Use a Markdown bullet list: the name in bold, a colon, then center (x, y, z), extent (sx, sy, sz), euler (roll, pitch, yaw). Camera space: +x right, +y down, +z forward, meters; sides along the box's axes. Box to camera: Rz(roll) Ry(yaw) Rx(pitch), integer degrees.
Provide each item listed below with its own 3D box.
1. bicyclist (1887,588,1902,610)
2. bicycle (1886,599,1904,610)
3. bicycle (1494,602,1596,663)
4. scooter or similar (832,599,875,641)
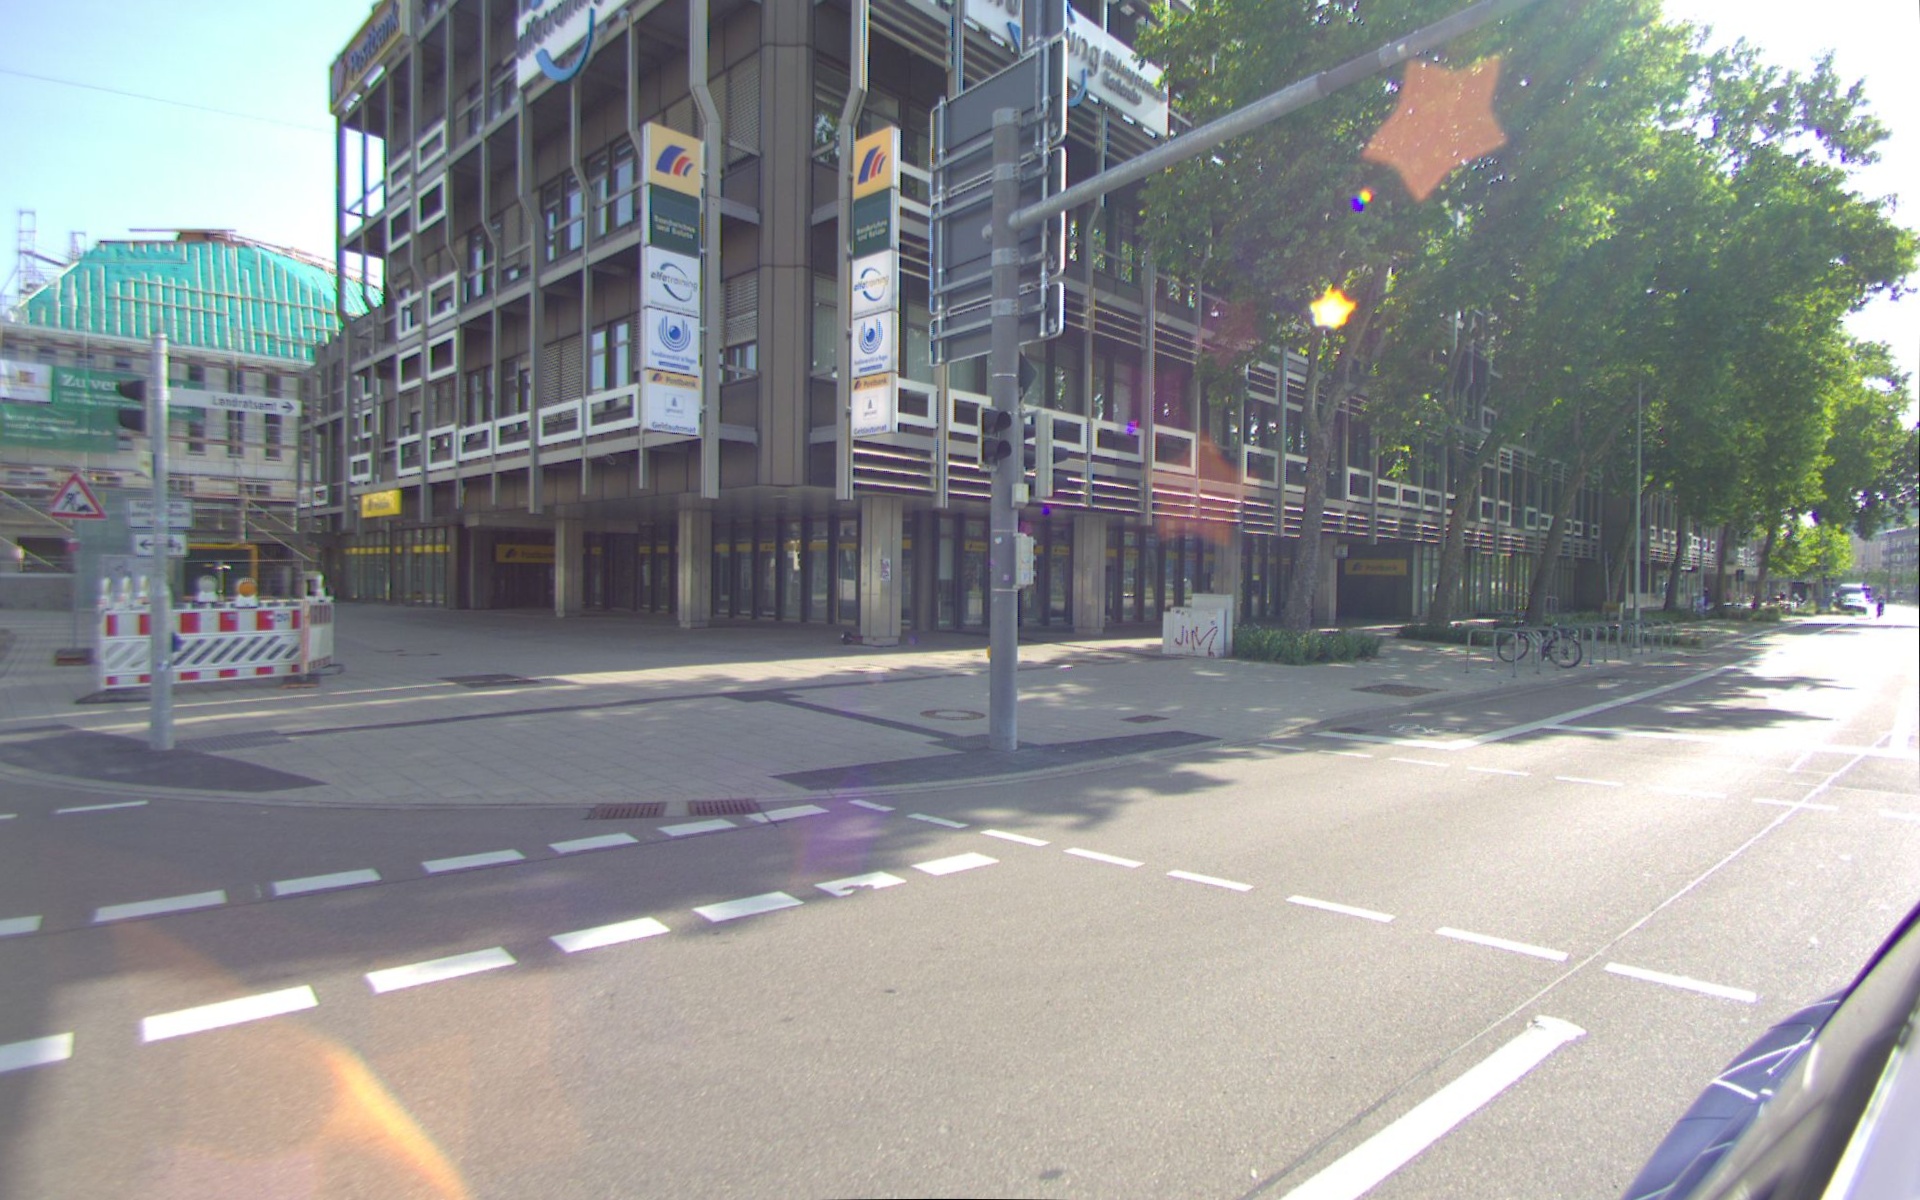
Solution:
- **bicyclist**: center (65.287, -0.094, 70.703), extent (0.608, 1.532, 0.804), euler (1, 1, 34)
- **bicycle**: center (65.178, 0.302, 70.546), extent (0.626, 0.715, 1.787), euler (1, 1, 34)
- **bicycle**: center (12.779, 0.681, 22.157), extent (0.528, 1.202, 1.831), euler (0, 2, -40)
- **scooter or similar**: center (-2.241, 0.420, 21.329), extent (0.278, 0.853, 0.944), euler (1, 1, 44)
